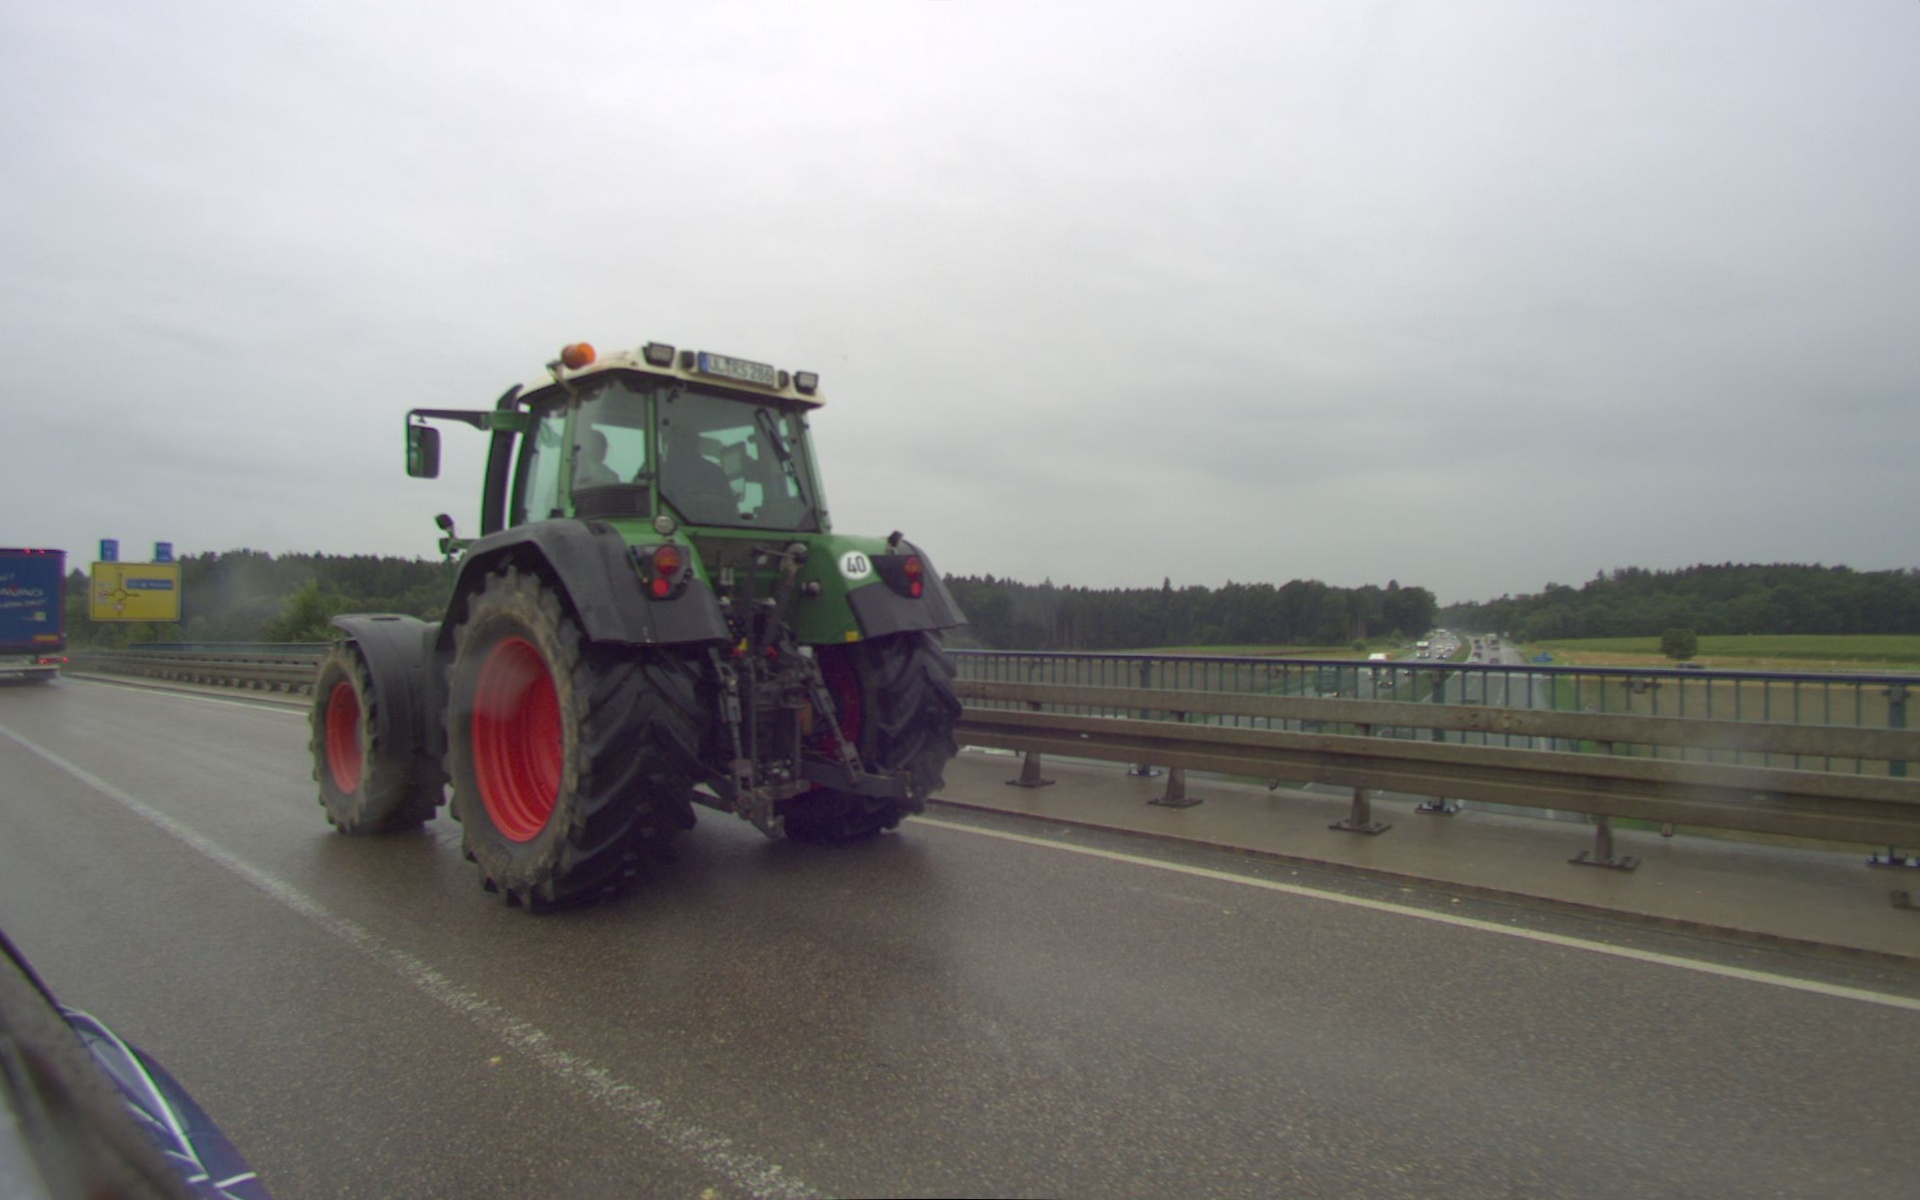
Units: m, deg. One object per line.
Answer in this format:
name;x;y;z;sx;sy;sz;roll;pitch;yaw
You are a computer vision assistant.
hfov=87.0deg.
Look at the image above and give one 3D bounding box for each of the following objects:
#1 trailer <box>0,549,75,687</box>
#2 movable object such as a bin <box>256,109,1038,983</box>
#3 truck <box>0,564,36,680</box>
trailer;-32.650;0.729;33.883;13.729;4.000;2.788;-2;-2;41
movable object such as a bin;-2.187;-0.159;6.547;4.638;3.471;2.721;-2;-2;39
truck;-36.767;0.894;37.520;8.759;4.000;2.788;-2;-2;41
